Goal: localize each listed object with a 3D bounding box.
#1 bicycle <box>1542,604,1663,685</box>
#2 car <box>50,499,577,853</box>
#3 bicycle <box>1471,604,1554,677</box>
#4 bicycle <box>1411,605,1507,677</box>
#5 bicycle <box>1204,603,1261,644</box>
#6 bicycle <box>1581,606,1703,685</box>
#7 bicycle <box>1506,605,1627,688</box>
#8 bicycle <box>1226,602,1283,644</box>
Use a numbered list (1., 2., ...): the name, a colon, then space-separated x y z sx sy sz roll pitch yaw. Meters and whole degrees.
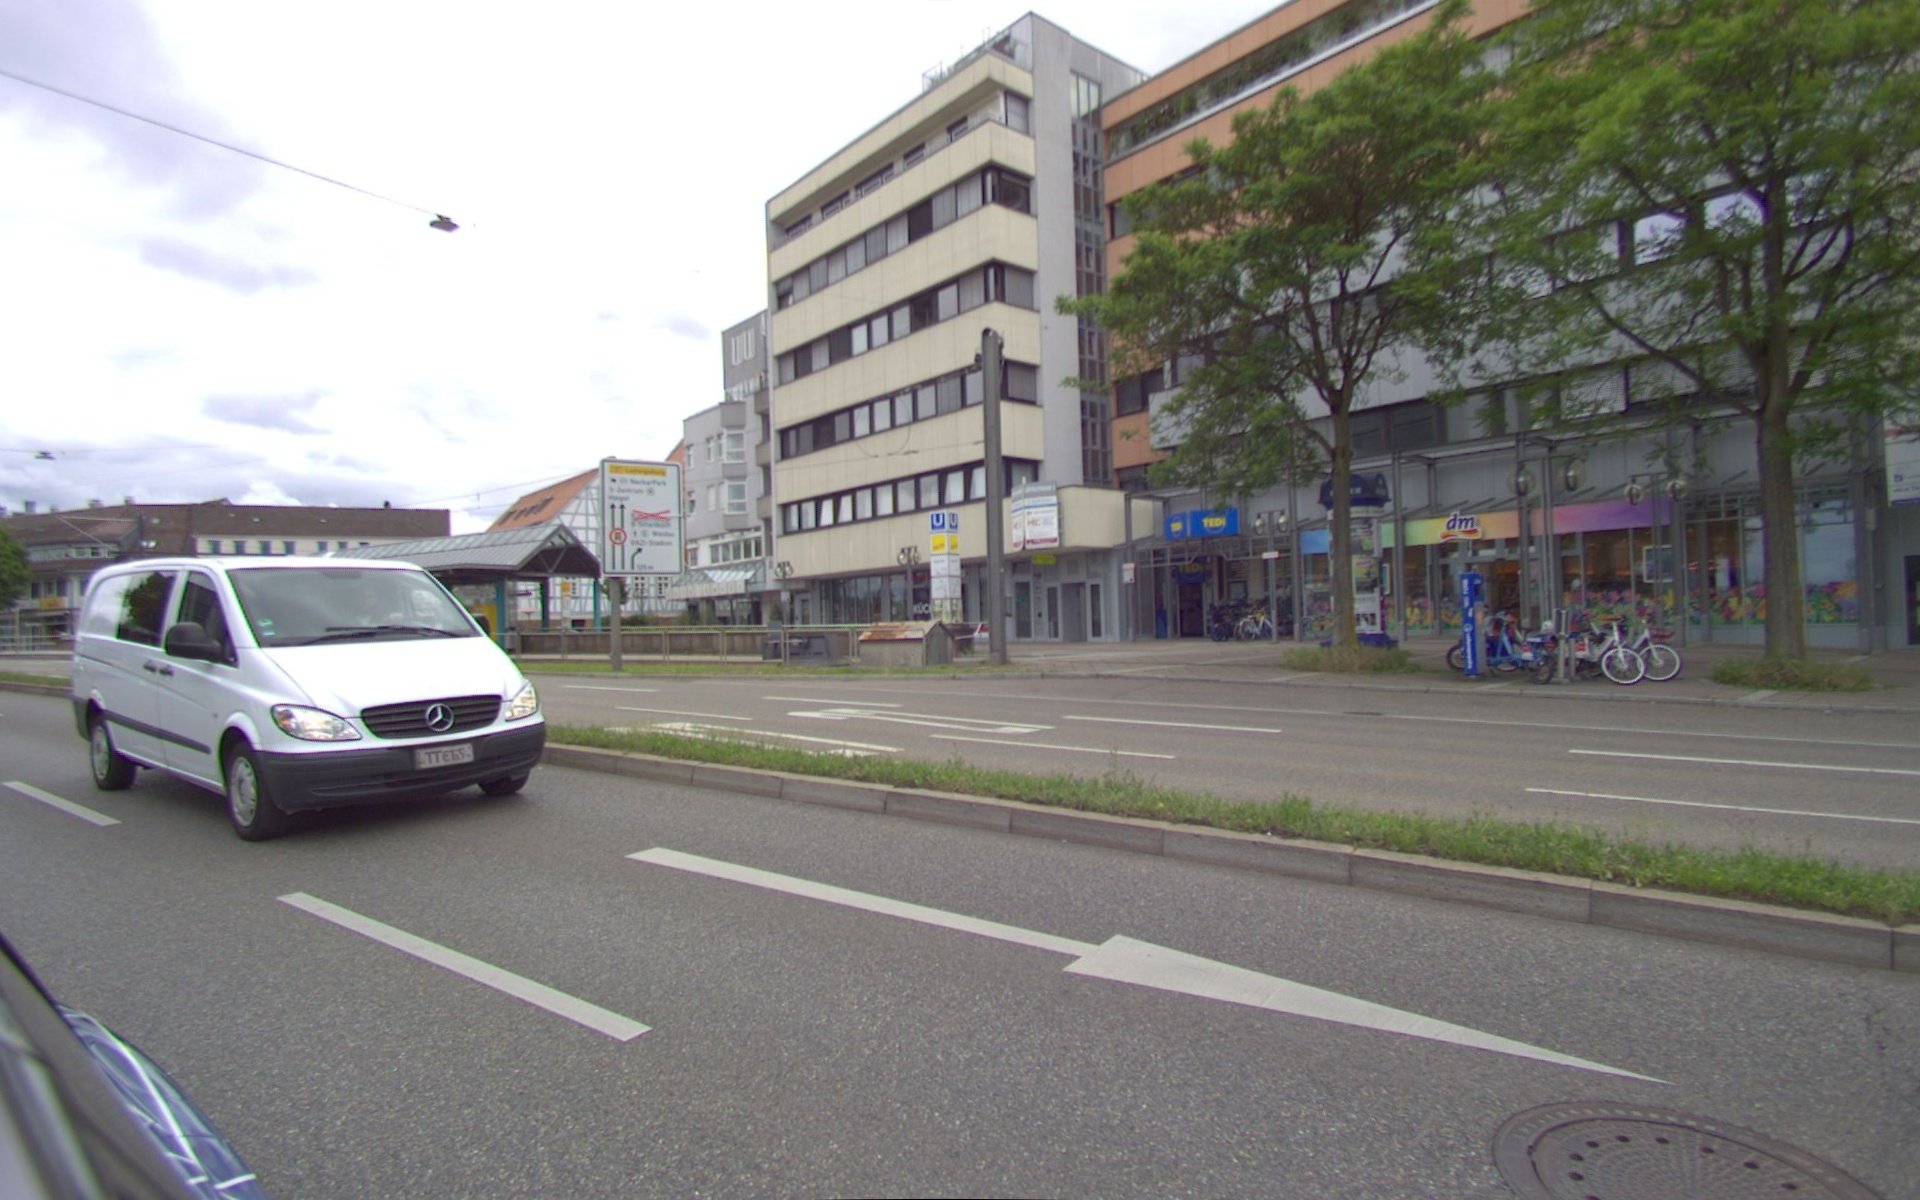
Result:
1. bicycle: 10.590 0.703 16.746 0.616 1.263 1.688 0 -1 -15
2. car: -5.361 0.507 8.069 5.066 2.029 1.856 -2 -1 37
3. bicycle: 9.933 0.710 18.251 0.425 1.263 1.474 0 -1 -13
4. bicycle: 9.142 0.734 18.610 0.616 1.263 1.688 0 -1 -15
5. bicycle: 9.238 0.786 34.281 1.940 1.329 0.708 0 -1 -32
6. bicycle: 11.497 0.738 17.127 0.616 1.263 1.688 0 -1 -15
7. bicycle: 9.752 0.728 16.344 0.616 1.263 1.688 0 -1 -15
8. bicycle: 9.730 0.745 33.415 1.940 1.329 0.708 0 -1 -32
